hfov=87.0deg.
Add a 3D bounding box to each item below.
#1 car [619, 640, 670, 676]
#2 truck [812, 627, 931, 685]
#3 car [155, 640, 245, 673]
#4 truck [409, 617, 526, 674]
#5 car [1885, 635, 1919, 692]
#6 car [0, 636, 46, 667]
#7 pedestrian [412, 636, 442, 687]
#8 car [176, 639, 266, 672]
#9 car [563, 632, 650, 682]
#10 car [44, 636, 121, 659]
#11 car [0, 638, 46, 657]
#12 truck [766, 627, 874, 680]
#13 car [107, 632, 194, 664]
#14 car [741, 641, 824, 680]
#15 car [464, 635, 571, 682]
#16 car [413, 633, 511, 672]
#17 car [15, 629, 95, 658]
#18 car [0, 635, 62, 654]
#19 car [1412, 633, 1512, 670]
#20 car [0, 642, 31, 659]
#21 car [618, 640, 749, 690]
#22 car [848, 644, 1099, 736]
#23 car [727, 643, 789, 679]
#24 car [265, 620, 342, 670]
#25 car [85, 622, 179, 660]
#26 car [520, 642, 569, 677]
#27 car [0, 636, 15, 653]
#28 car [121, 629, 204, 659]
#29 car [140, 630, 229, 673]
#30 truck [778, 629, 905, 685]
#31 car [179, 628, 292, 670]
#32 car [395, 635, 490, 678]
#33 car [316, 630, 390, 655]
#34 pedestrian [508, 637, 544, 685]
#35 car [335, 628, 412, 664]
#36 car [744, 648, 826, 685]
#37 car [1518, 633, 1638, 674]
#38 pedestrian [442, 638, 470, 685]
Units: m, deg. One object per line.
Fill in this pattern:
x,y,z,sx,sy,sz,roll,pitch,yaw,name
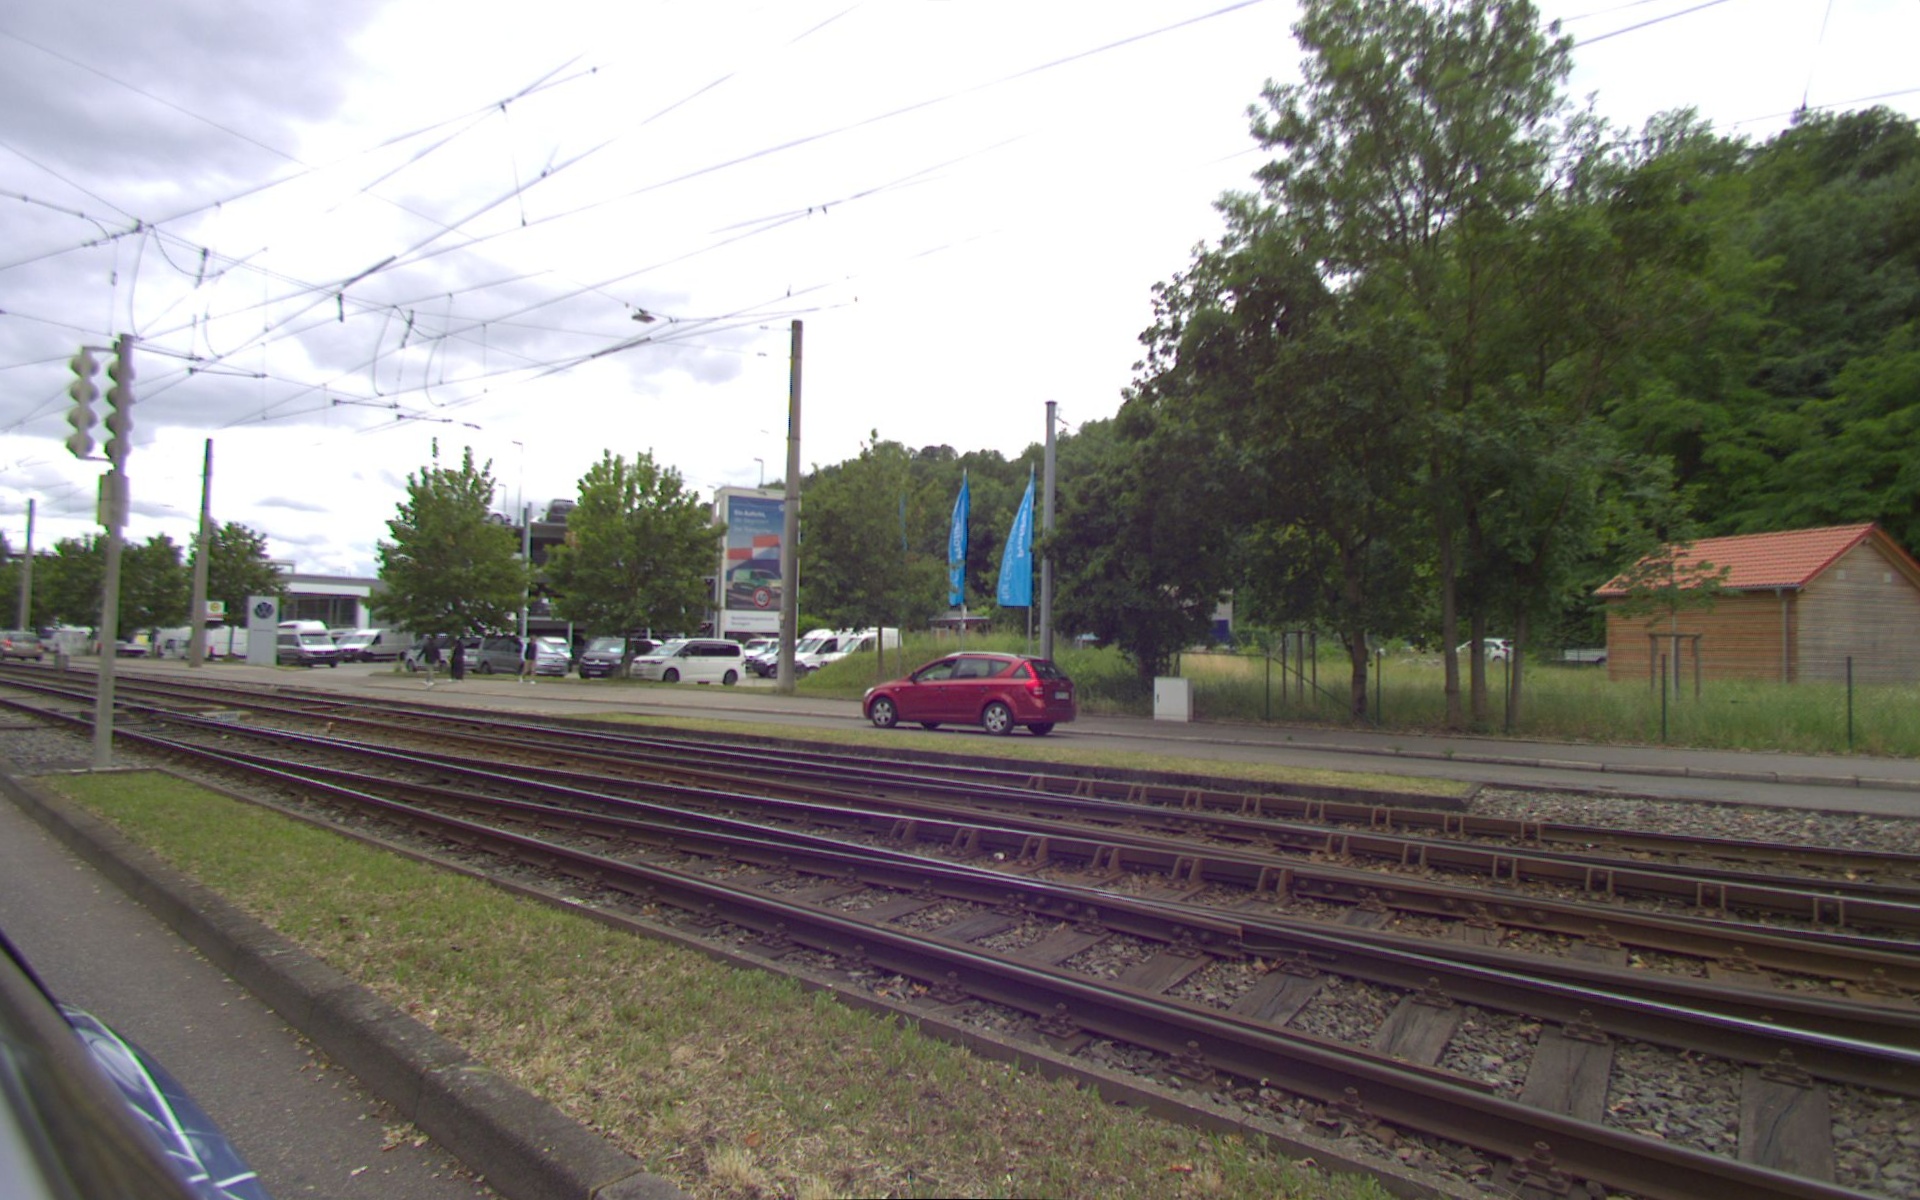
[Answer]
-18.367,3.360,58.796,1.965,2.028,4.481,2,-4,-29,car
-4.130,2.628,47.308,4.984,2.608,2.476,2,-4,-24,truck
-51.265,3.827,68.345,1.996,2.121,4.334,-1,-4,30,car
-28.043,2.610,57.766,5.835,3.108,2.126,2,-4,-26,truck
35.655,2.235,35.371,1.965,2.029,4.417,1,-3,-24,car
-51.715,2.791,55.198,4.248,1.544,1.873,-2,-7,36,car
-19.472,2.242,36.955,0.854,1.827,0.670,-2,-2,37,pedestrian
-49.015,3.682,67.197,1.996,2.121,4.334,-1,-4,30,car
-15.292,2.473,44.080,2.135,2.029,5.074,1,-3,-2,car
-71.435,3.896,82.445,2.000,1.859,4.327,-2,-4,35,car
-83.949,4.200,89.763,1.996,1.630,3.951,-2,-4,36,car
-7.301,2.817,52.902,4.985,2.608,2.476,3,-4,-30,truck
-57.697,3.448,72.218,1.996,2.189,4.334,-1,-4,30,car
-9.592,3.268,54.911,3.935,2.029,2.004,2,-3,-38,car
-20.333,2.656,46.456,5.115,2.029,1.977,-2,-4,33,car
-27.071,2.894,55.069,4.649,2.029,2.006,2,-4,-28,car
-73.935,3.602,82.774,2.120,2.329,4.457,-2,-4,35,car
-81.996,3.944,88.876,1.998,1.630,4.331,-1,-4,32,car
23.908,2.445,48.348,1.965,1.675,4.012,1,-3,-19,car
-88.960,4.667,93.761,1.996,1.630,3.951,-2,-4,36,car
-11.303,2.630,41.671,2.161,1.902,5.013,-2,-3,34,car
0.219,1.706,19.590,4.489,1.527,1.977,-1,-6,34,car
-12.114,3.650,61.074,1.982,2.029,4.256,-2,-3,15,car
-41.568,2.868,64.016,5.926,3.042,2.088,-2,-4,37,car
-61.725,3.098,75.569,2.107,2.719,4.930,-1,-4,30,car
-23.220,3.299,56.459,1.965,1.845,4.481,2,-4,-29,car
-94.300,4.263,97.702,2.059,1.630,4.140,-2,-4,36,car
-59.007,3.279,74.978,1.996,2.189,4.334,-1,-4,30,car
-53.271,3.547,69.578,1.996,2.841,4.334,-1,-4,30,car
-5.821,2.818,49.918,5.679,2.608,2.476,3,-4,-30,truck
-46.824,3.177,65.549,2.241,2.622,5.426,-2,-4,34,car
-25.602,2.750,50.004,4.904,2.029,1.977,-1,-4,33,car
-50.201,3.543,83.791,1.996,2.029,4.799,-2,-4,36,car
-15.512,2.164,36.169,1.037,1.668,0.713,-2,-1,27,pedestrian
-44.672,3.557,77.278,1.979,2.622,5.943,0,-3,5,car
-10.000,3.808,57.953,4.197,2.029,1.985,3,-4,-38,car
26.389,2.266,43.357,1.965,1.675,4.012,1,-3,-19,car
-18.888,2.286,37.910,0.854,1.726,0.622,-2,-2,37,pedestrian
